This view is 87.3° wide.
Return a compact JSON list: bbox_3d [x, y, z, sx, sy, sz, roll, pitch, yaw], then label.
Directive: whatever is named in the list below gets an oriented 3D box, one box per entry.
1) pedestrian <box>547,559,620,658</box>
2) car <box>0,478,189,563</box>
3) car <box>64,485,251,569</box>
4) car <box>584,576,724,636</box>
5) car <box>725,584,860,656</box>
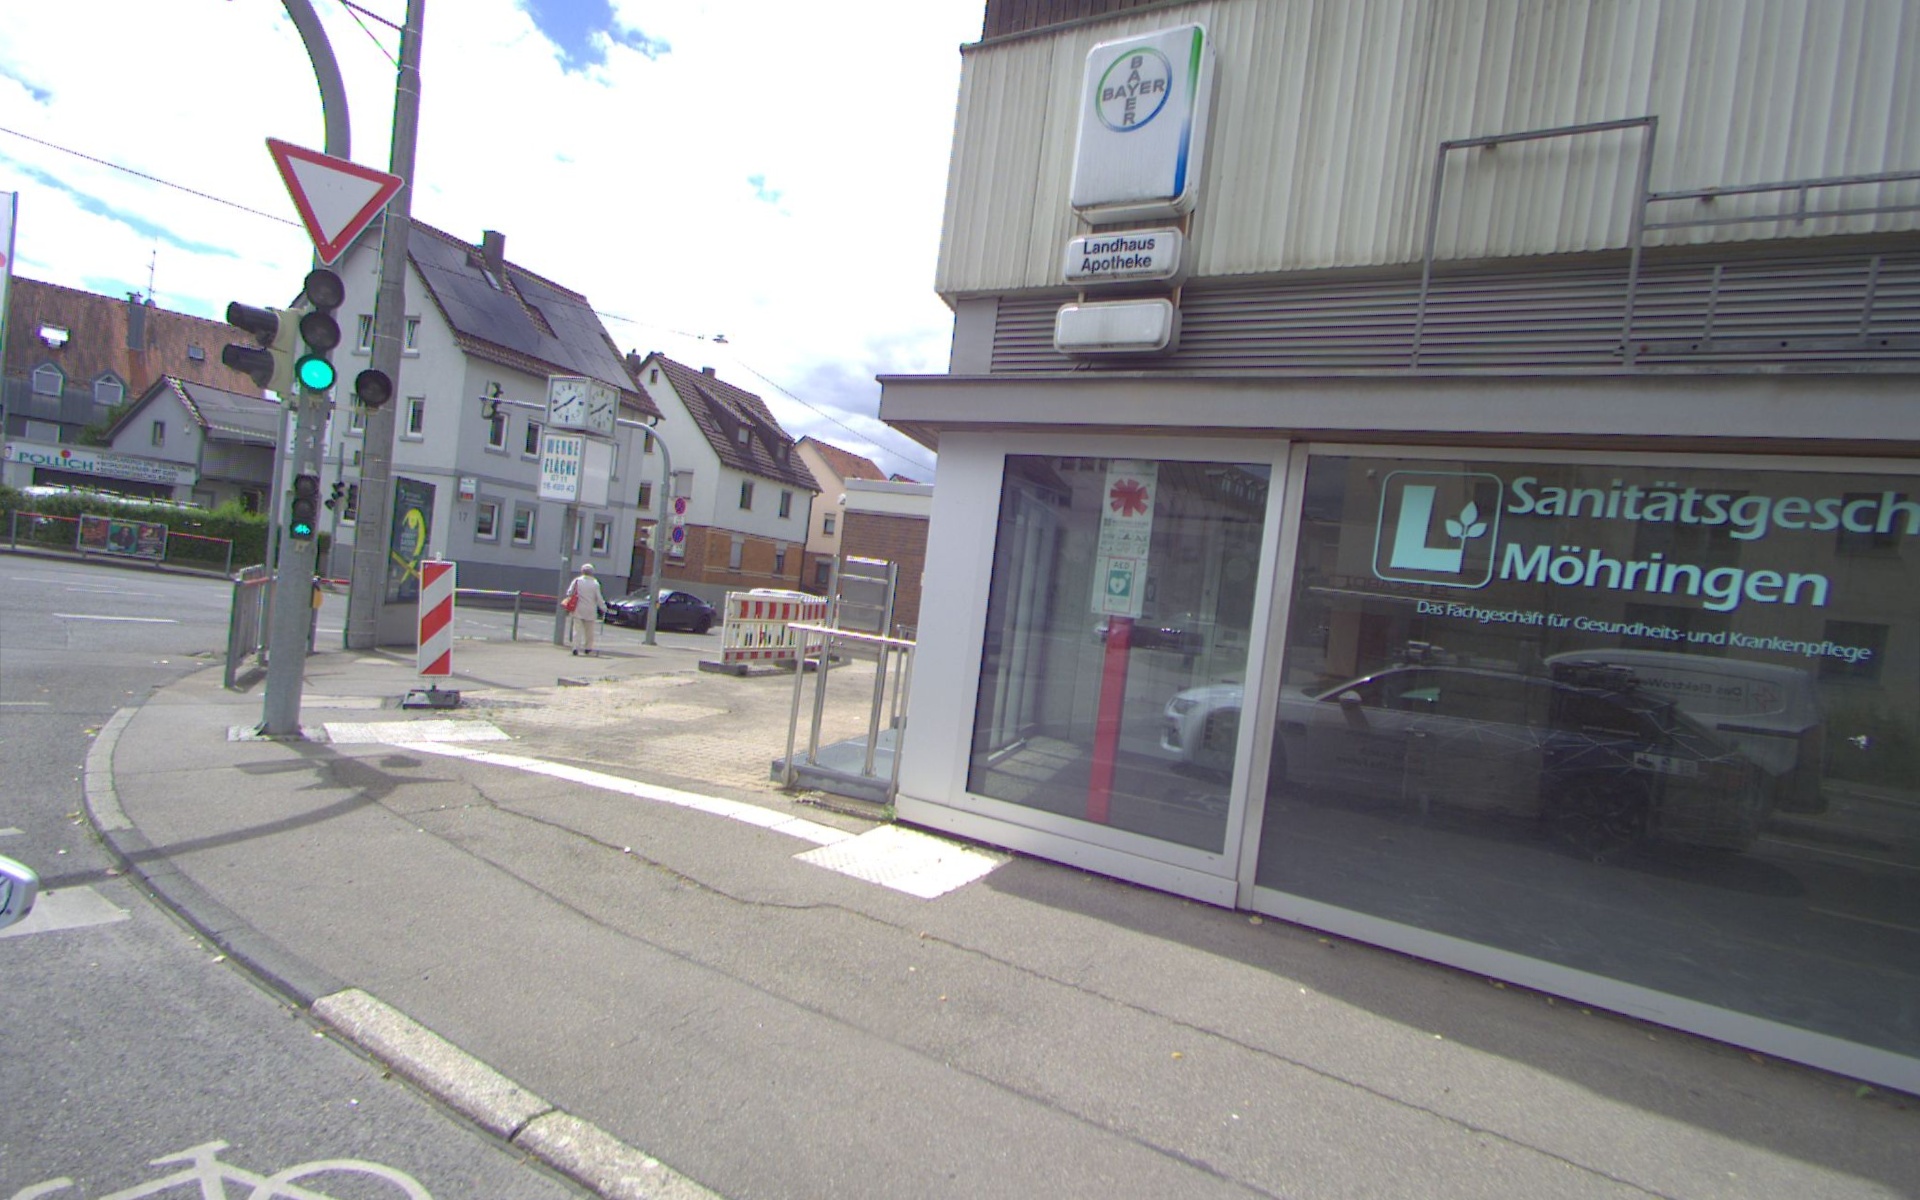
[{"bbox_3d":[-6.582,0.147,17.592,0.830,1.658,0.864,4,0,-42],"label":"pedestrian"},{"bbox_3d":[-27.569,-2.486,32.195,1.964,2.038,3.999,7,-1,23],"label":"car"},{"bbox_3d":[-24.998,-2.214,31.494,1.963,1.971,4.000,6,-1,22],"label":"car"},{"bbox_3d":[-10.189,0.254,33.945,1.963,1.474,4.618,9,0,21],"label":"car"},{"bbox_3d":[-5.080,0.687,31.259,1.882,1.816,4.490,7,-1,22],"label":"car"}]
